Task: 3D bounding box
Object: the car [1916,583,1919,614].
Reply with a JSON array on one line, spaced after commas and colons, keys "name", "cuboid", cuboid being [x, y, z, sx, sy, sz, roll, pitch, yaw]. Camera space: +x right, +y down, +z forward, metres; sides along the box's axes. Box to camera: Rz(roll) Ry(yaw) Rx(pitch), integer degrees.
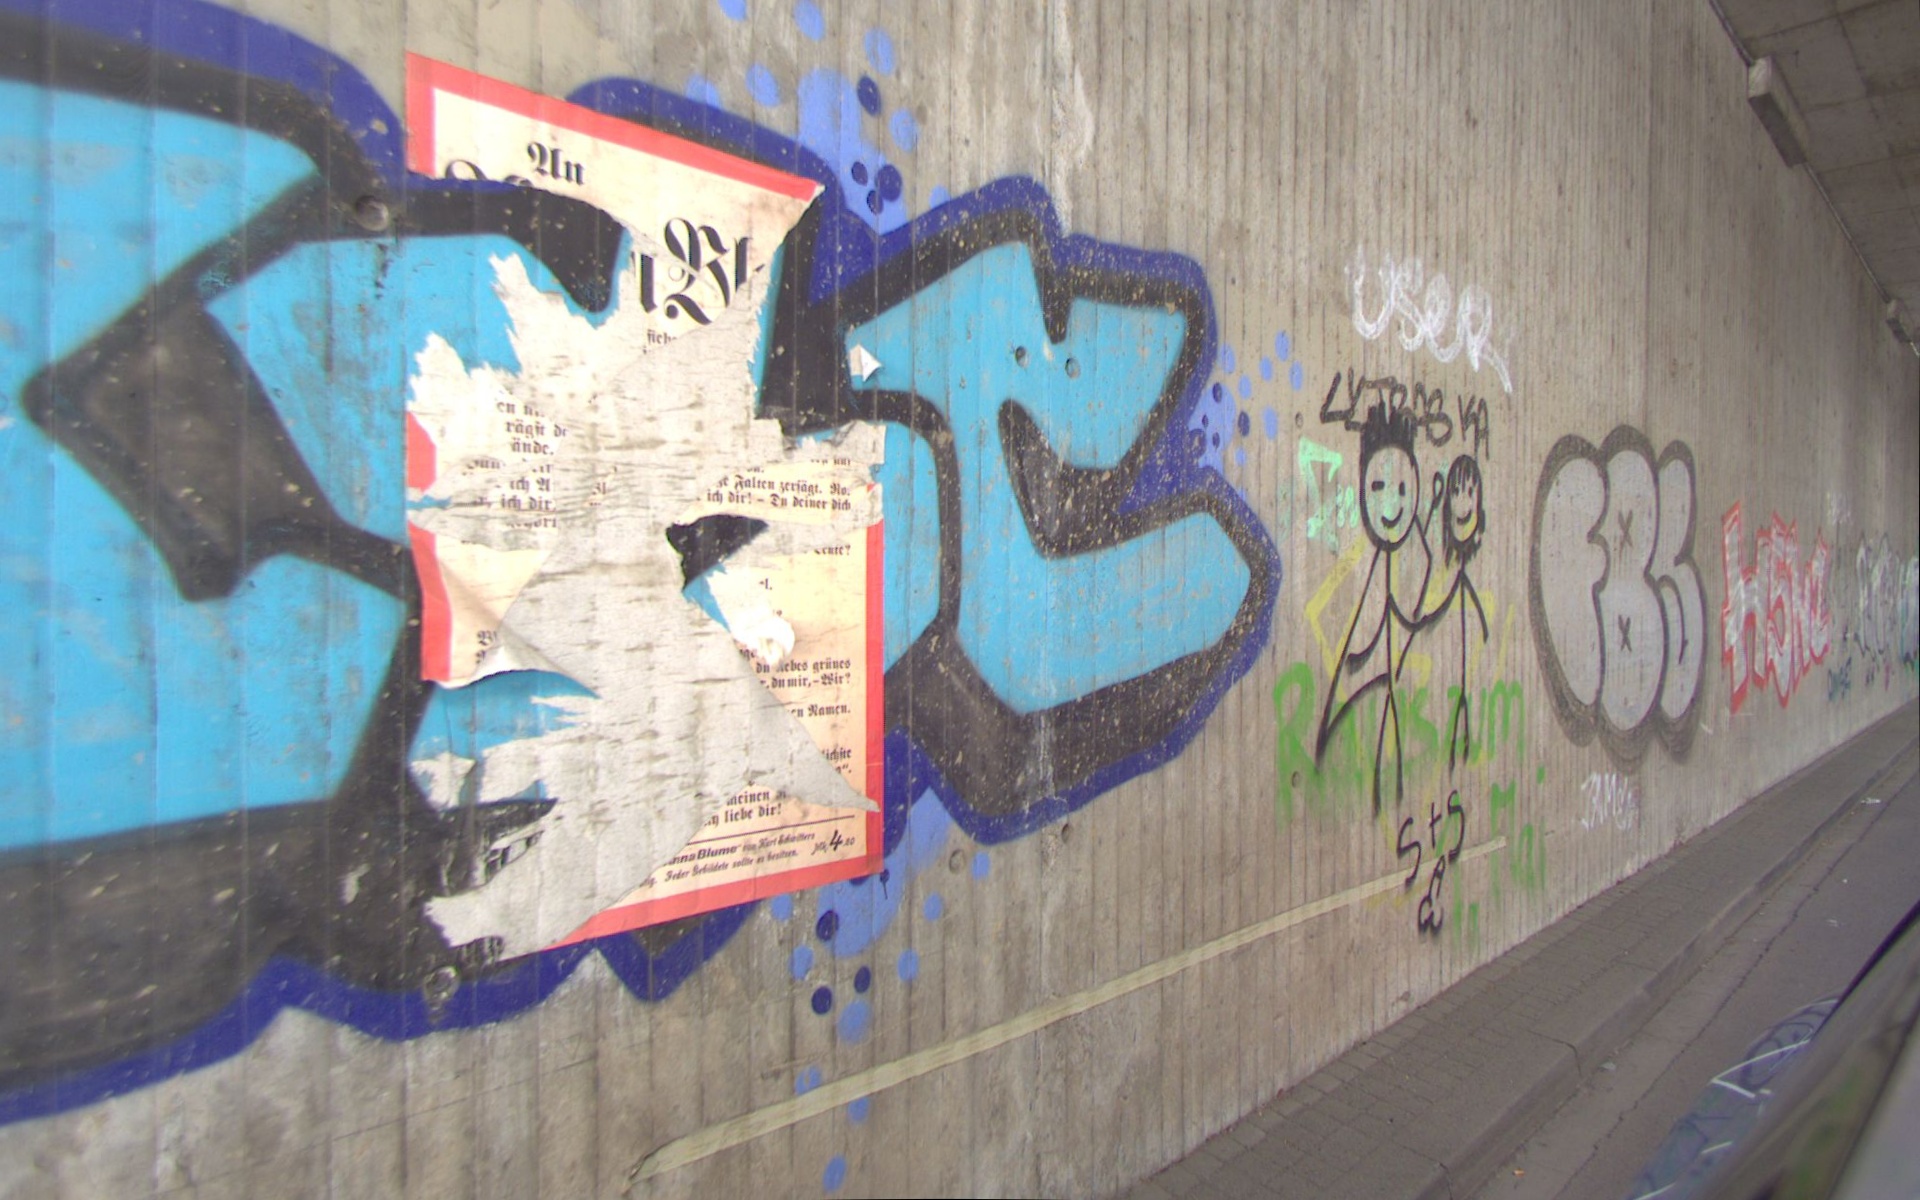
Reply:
[{"name": "car", "cuboid": [59.567, -0.025, 60.109, 1.781, 1.875, 3.991, 0, 1, -43]}]
